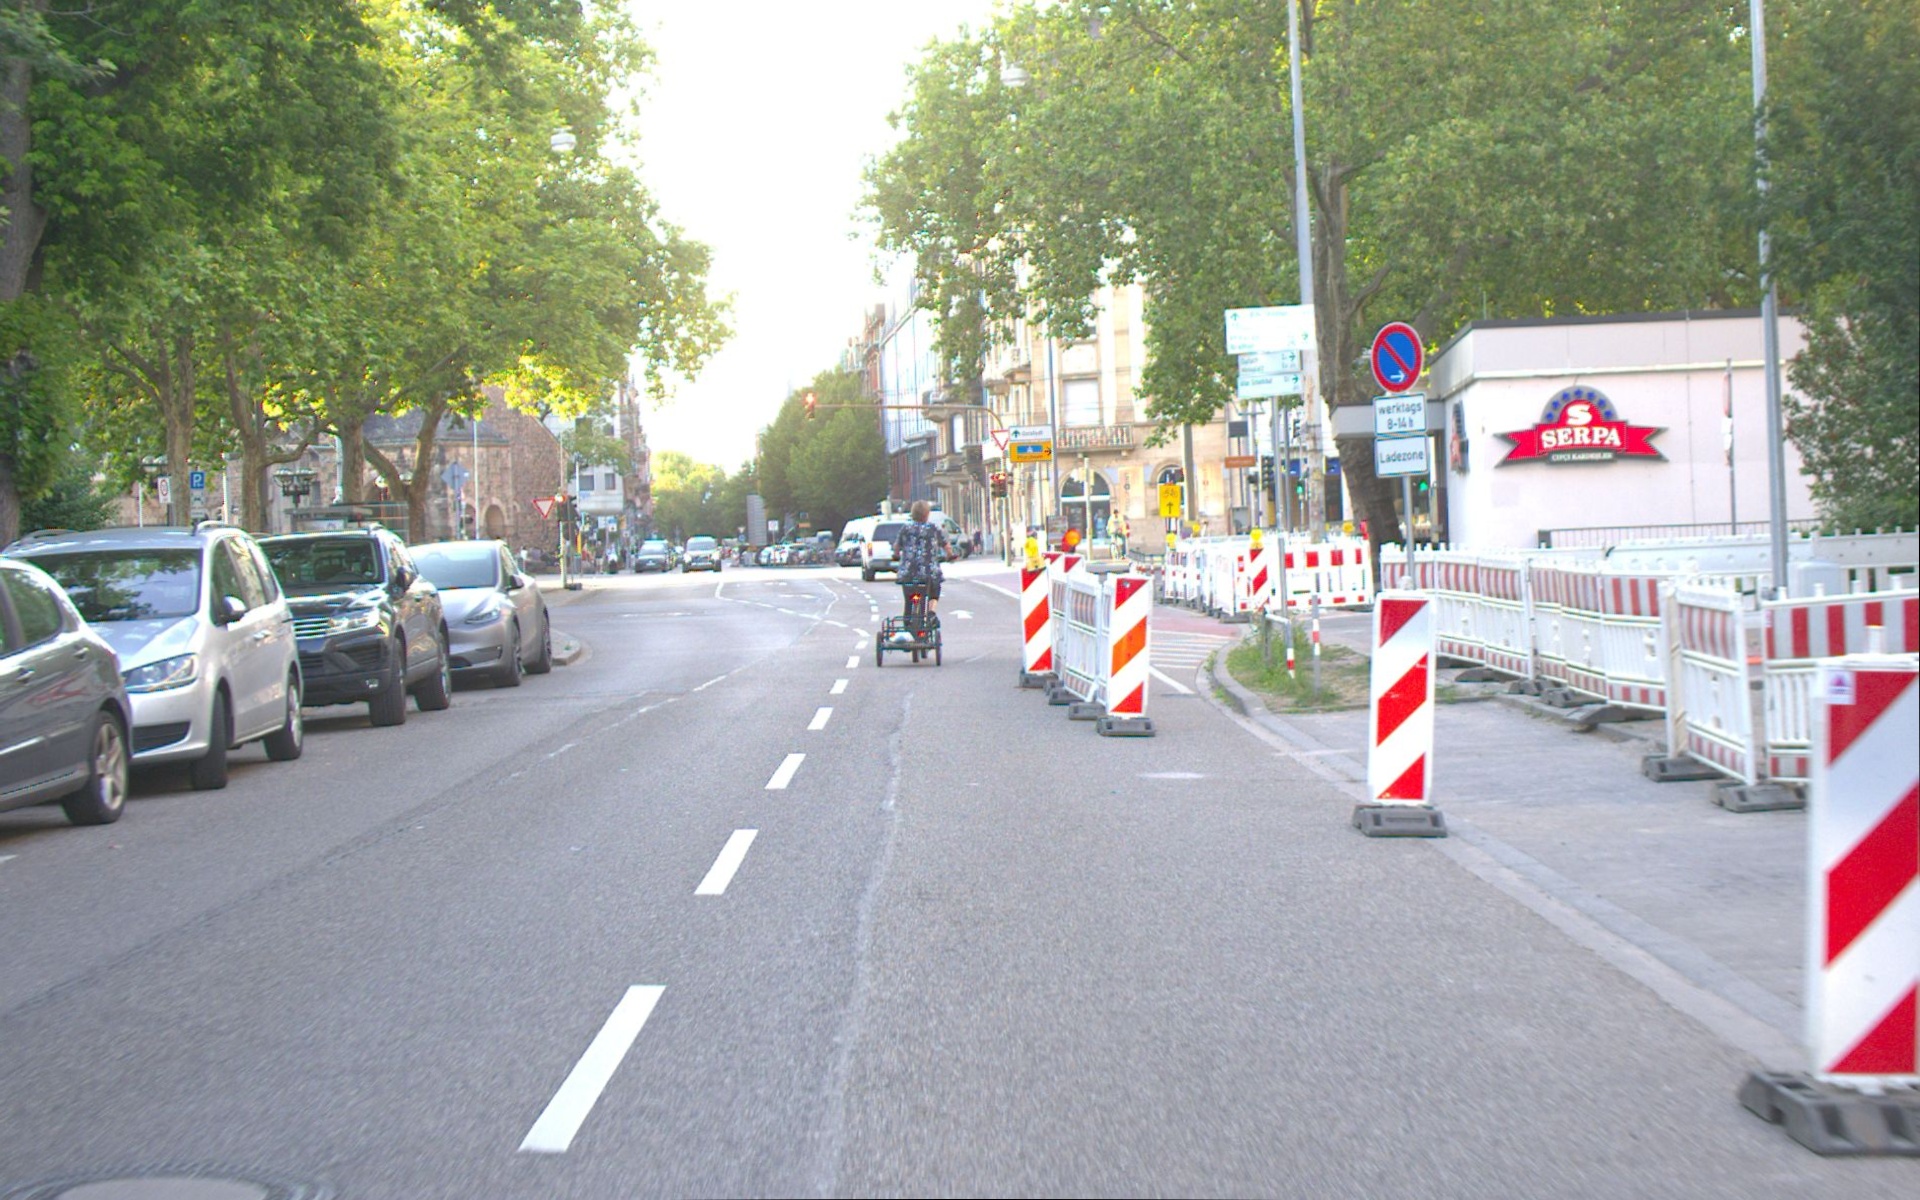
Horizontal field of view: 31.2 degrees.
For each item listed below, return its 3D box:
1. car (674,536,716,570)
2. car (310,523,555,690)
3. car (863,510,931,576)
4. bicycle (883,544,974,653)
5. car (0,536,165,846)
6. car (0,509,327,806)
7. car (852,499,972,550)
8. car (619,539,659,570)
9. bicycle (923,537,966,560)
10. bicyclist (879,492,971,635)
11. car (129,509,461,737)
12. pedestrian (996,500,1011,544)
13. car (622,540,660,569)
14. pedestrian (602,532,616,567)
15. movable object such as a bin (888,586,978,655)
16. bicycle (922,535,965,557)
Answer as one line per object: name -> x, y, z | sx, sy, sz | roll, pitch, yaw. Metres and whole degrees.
car -> -13.007, -2.313, 168.662 | 1.781, 1.645, 3.822 | 0, 1, -8
car -> -5.734, 0.023, 37.896 | 1.953, 1.611, 4.605 | -4, 1, -1
car -> -1.880, -1.691, 101.841 | 1.866, 1.808, 4.000 | -3, 1, -2
bicycle -> -0.382, -0.031, 39.967 | 0.939, 1.168, 2.359 | -4, 1, -1
car -> -5.548, 0.493, 17.344 | 1.733, 1.492, 4.270 | -4, 1, 4
car -> -5.538, 0.314, 22.803 | 1.846, 1.685, 4.860 | -4, 1, -2
car -> -2.257, -3.620, 164.153 | 5.807, 2.280, 2.071 | -3, 2, -43
car -> -17.801, -2.519, 190.463 | 1.993, 1.645, 3.822 | 0, 1, -8
bicycle -> -0.727, -2.371, 157.936 | 1.914, 0.965, 0.546 | -2, 1, -2
bicyclist -> -0.414, -0.427, 39.982 | 0.939, 1.576, 1.146 | -4, 1, -1
car -> -5.696, 0.141, 30.056 | 1.953, 1.713, 4.771 | -4, 1, -1
pedestrian -> 1.873, -3.342, 147.889 | 0.593, 1.880, 0.647 | -2, 1, 2
car -> -18.393, -2.631, 198.201 | 1.993, 1.645, 3.822 | 0, 1, -8
pedestrian -> -19.063, -2.744, 186.745 | 0.593, 1.880, 0.553 | -2, 1, 3
movable object such as a bin -> -0.312, 0.224, 38.305 | 0.939, 0.686, 0.993 | -4, 1, -1
bicycle -> -0.754, -2.480, 157.655 | 1.914, 0.965, 0.546 | -2, 1, -2
